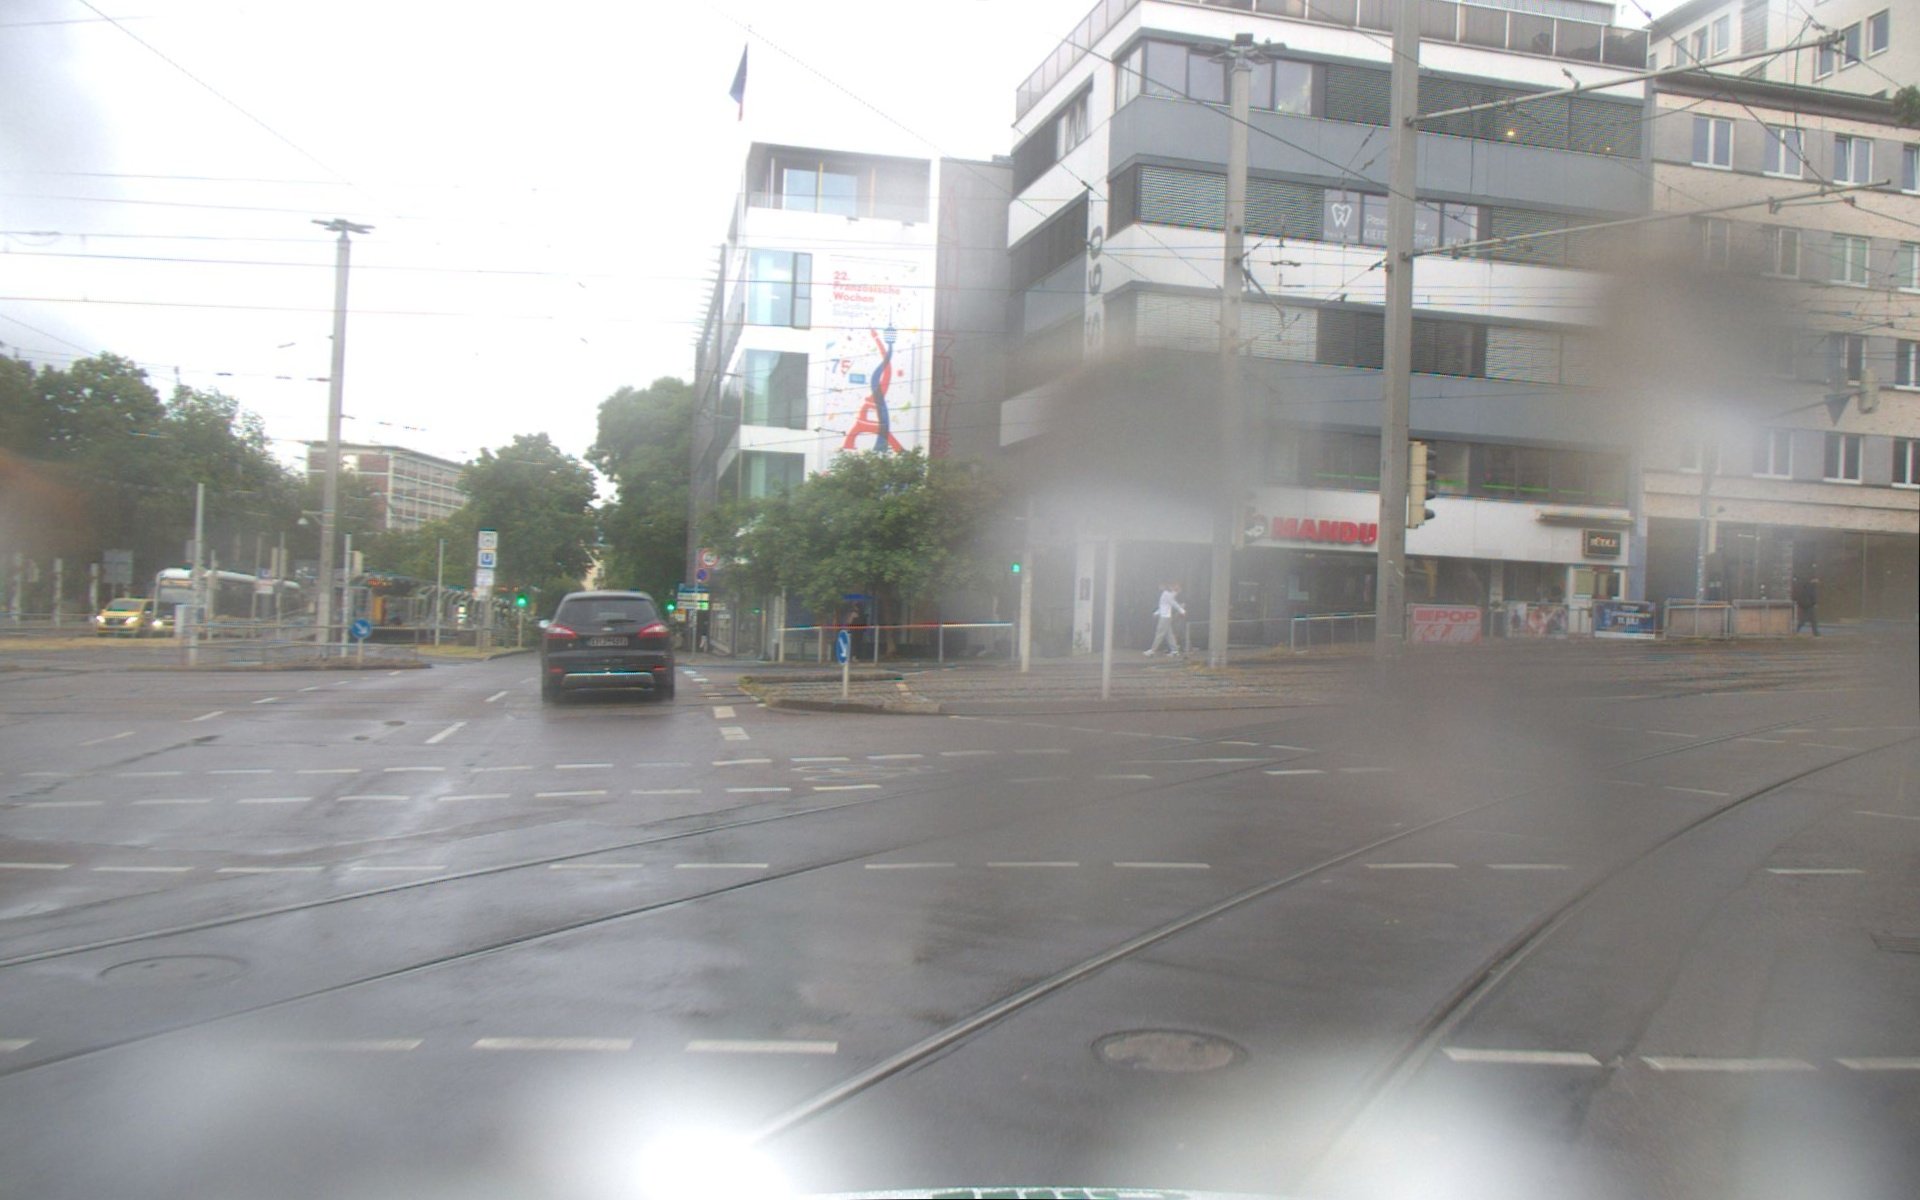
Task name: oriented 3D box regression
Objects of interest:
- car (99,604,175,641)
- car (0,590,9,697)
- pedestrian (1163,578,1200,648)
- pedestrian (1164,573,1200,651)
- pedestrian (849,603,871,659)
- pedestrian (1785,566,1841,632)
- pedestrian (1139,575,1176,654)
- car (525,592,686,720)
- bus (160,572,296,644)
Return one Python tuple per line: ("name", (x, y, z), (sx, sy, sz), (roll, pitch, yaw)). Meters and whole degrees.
("car", (-39.134, 1.049, 78.767), (1.957, 1.674, 4.526), (0, 0, -10))
("car", (-16.277, 0.615, 23.915), (4.622, 1.532, 2.104), (0, -1, 25))
("pedestrian", (5.662, 0.333, 42.349), (0.704, 1.793, 0.696), (0, -1, 34))
("pedestrian", (5.560, 0.302, 41.450), (0.703, 1.947, 0.697), (0, -1, 27))
("pedestrian", (-2.851, 0.885, 47.264), (0.530, 1.590, 0.522), (0, -1, 10))
("pedestrian", (22.759, -0.027, 44.141), (0.979, 1.710, 0.886), (-1, -1, -16))
("pedestrian", (4.893, 0.359, 40.977), (0.703, 1.947, 0.697), (0, -1, 27))
("car", (-4.983, 0.734, 23.604), (1.999, 1.612, 4.381), (2, 0, -10))
("bus", (-36.962, 0.413, 84.077), (3.019, 3.358, 12.498), (0, 0, -8))
